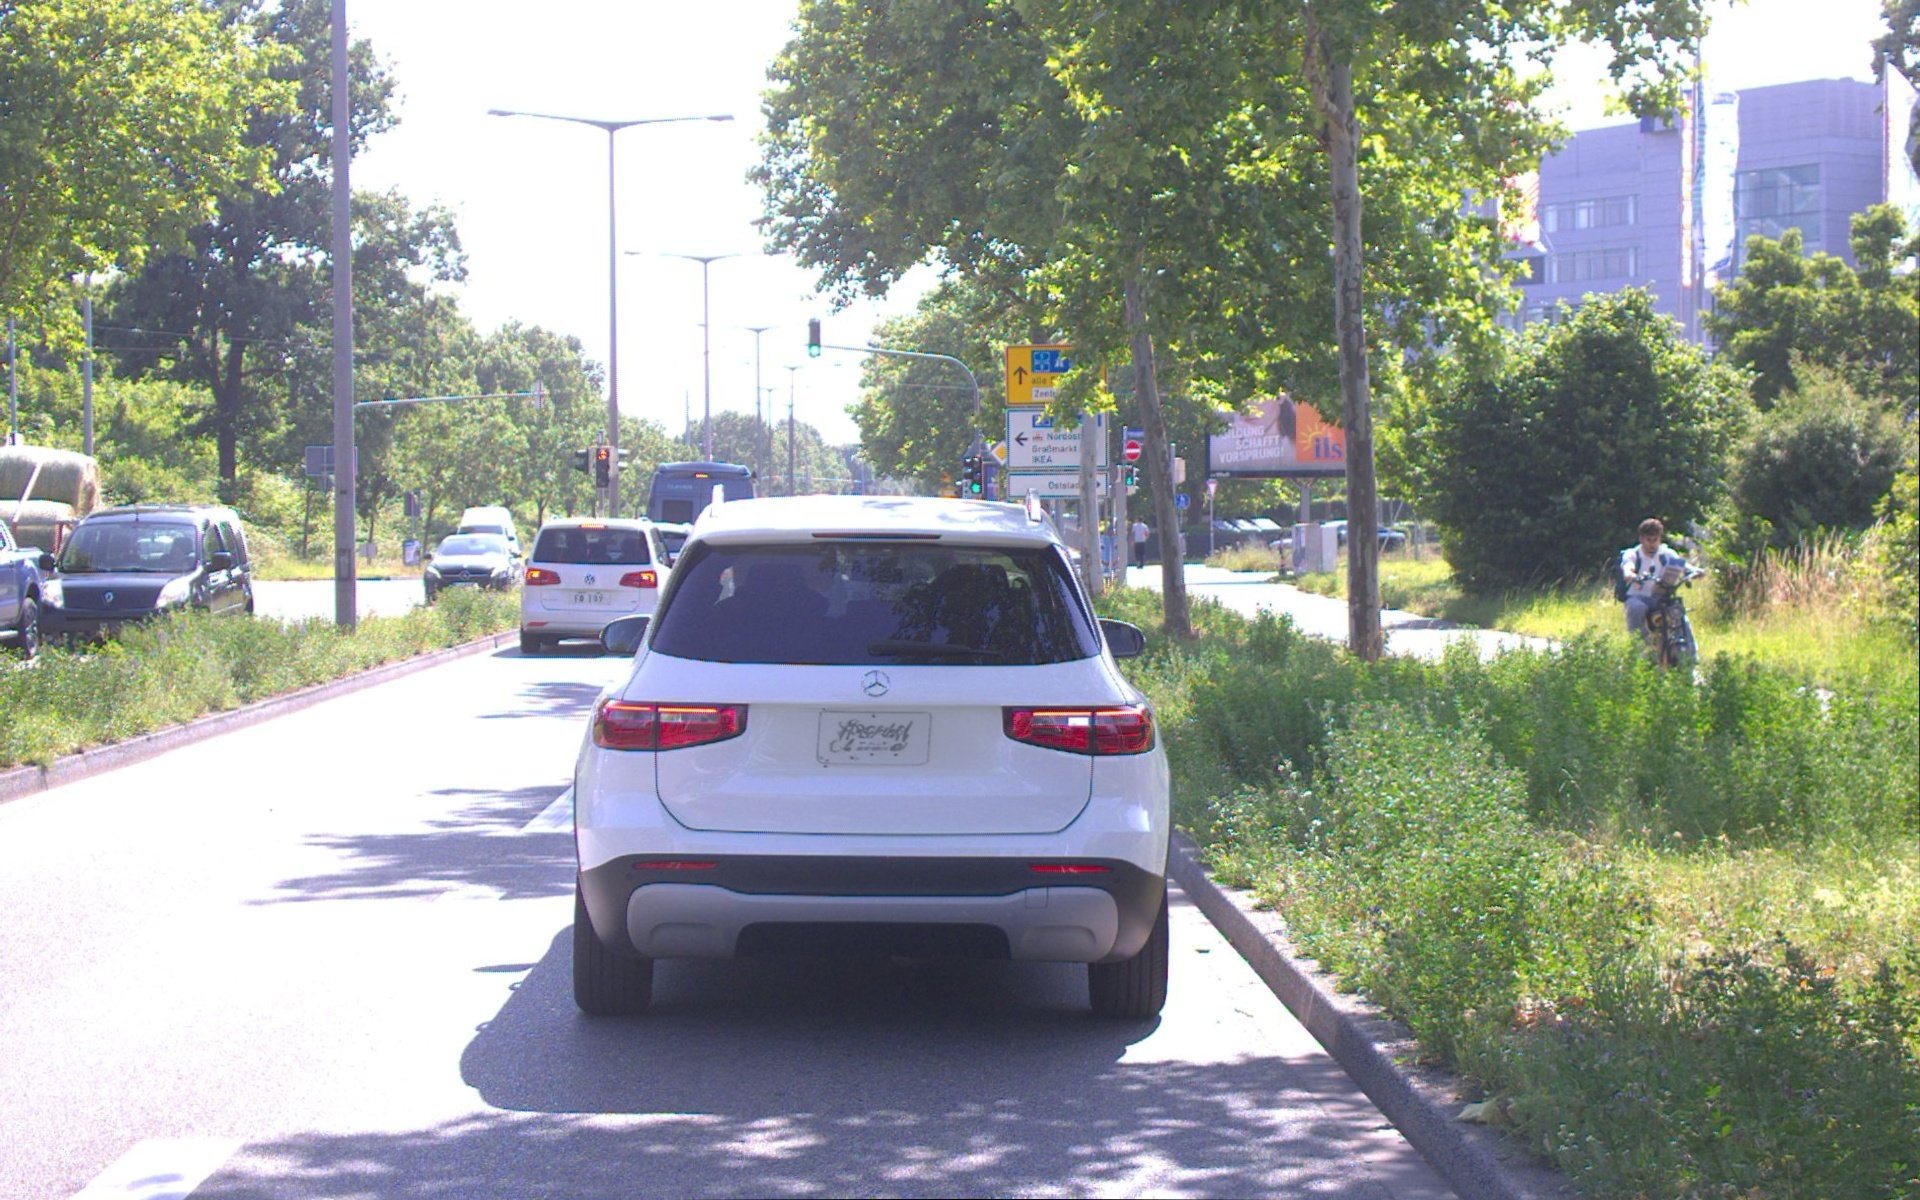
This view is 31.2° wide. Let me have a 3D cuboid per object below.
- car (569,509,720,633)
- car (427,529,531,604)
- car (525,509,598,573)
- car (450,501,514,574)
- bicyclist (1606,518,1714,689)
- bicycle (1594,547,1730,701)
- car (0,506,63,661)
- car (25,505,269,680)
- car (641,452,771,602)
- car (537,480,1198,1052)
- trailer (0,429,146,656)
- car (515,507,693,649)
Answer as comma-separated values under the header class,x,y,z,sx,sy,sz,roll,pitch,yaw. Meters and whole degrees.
class,x,y,z,sx,sy,sz,roll,pitch,yaw
car,-4.379,-0.422,48.252,1.771,1.641,4.085,1,1,-1
car,-9.775,-0.689,70.096,1.602,1.467,3.790,1,1,-1
car,-12.361,-1.831,106.801,1.993,1.875,4.001,2,1,-4
car,-16.215,-2.145,116.790,1.993,2.410,5.140,1,1,-7
bicyclist,6.166,0.019,30.319,0.704,1.472,1.010,1,1,-1
bicycle,6.147,0.187,30.186,0.722,1.294,2.096,1,1,-1
car,-11.916,-0.210,39.624,1.764,1.783,5.376,2,1,-1
car,-9.055,-0.117,38.594,1.731,1.803,4.232,2,1,-1
car,-4.706,-1.351,64.317,2.081,2.647,4.874,1,1,-1
car,-0.366,0.435,11.783,1.853,1.602,4.001,1,1,-3
trailer,-11.955,-0.758,44.059,1.880,2.734,4.829,2,1,-1
car,-4.337,-0.295,42.387,1.771,1.641,4.352,1,1,-1
